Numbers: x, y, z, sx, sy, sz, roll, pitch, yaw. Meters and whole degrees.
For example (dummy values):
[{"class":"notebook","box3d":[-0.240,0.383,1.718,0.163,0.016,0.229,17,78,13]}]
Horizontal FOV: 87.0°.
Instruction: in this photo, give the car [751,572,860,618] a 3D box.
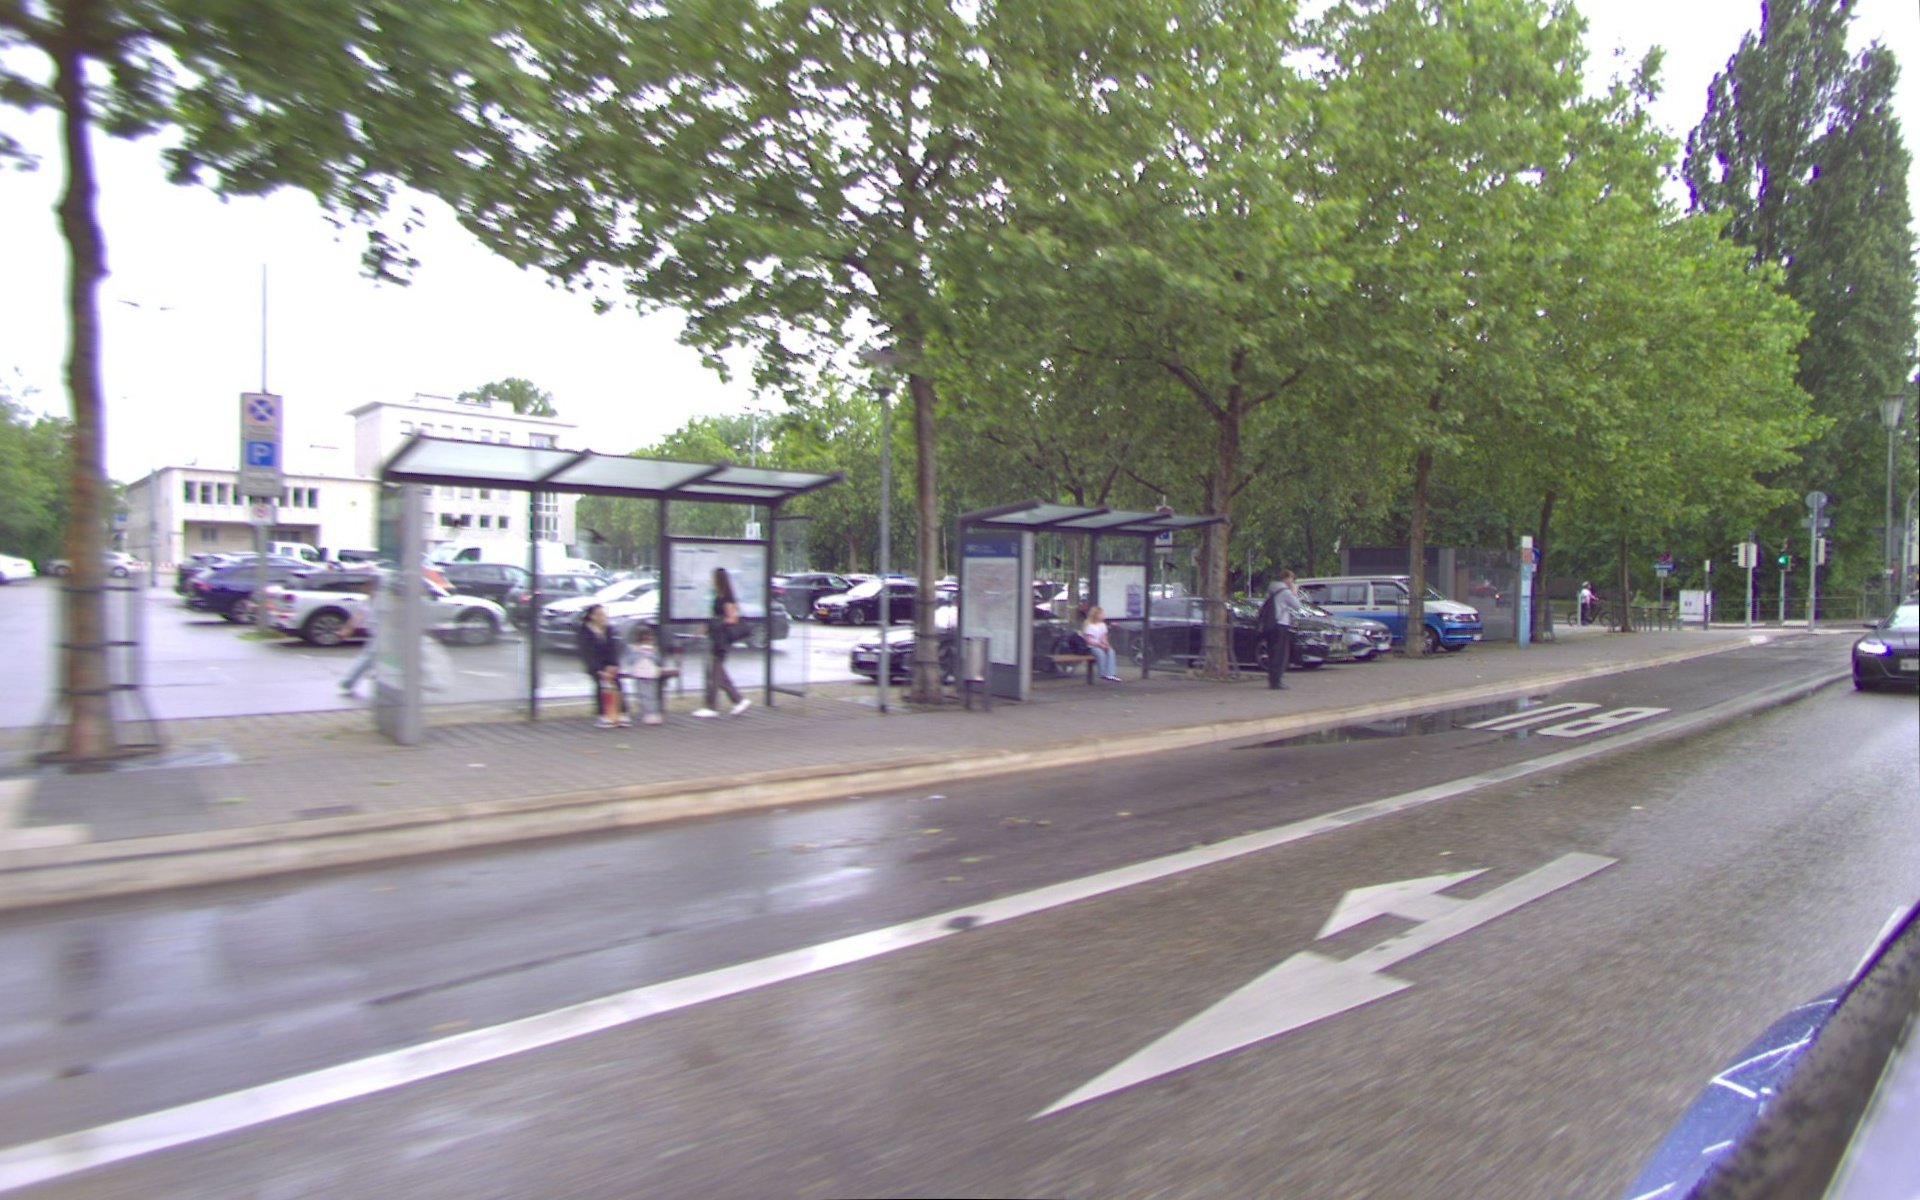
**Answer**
[{"class":"car","box3d":[-5.434,-0.166,35.871,3.572,1.523,1.529,1,2,-44]}]

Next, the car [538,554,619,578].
[{"class":"car","box3d":[-23.792,-2.076,63.210,1.635,1.442,4.438,0,1,44]}]

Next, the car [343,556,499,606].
[{"class":"car","box3d":[-15.143,-0.523,28.534,3.572,1.251,1.529,1,2,-44]}]

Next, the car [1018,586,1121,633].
[{"class":"car","box3d":[3.779,0.316,34.508,1.527,1.445,3.779,3,1,42]}]

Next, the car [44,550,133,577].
[{"class":"car","box3d":[-50.388,-2.119,58.599,3.745,1.439,1.701,1,1,-36]}]

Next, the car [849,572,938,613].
[{"class":"car","box3d":[-2.756,-0.301,42.615,3.550,1.612,1.529,1,1,-43]}]

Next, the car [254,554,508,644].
[{"class":"car","box3d":[-11.542,-0.012,20.336,4.107,1.610,1.759,1,2,-44]}]

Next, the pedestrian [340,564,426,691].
[{"class":"pedestrian","box3d":[-7.817,0.353,13.714,0.846,1.653,0.766,1,0,-41]}]

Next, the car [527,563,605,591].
[{"class":"car","box3d":[-19.847,-1.146,51.045,1.525,1.251,3.309,3,1,38]}]

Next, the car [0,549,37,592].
[{"class":"car","box3d":[-40.021,-1.225,40.734,3.938,1.696,1.858,1,1,-33]}]

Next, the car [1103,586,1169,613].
[{"class":"car","box3d":[10.808,-0.055,62.274,3.817,1.481,1.444,3,2,45]}]

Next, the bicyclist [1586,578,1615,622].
[{"class":"bicyclist","box3d":[26.624,-0.003,42.088,0.980,1.792,0.788,1,1,31]}]

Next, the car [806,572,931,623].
[{"class":"car","box3d":[-3.060,-0.058,34.335,3.980,1.584,1.617,1,1,-40]}]

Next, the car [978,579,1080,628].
[{"class":"car","box3d":[2.504,0.137,36.286,3.549,1.612,1.570,1,1,-43]}]

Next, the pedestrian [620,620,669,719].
[{"class":"pedestrian","box3d":[-3.476,0.757,11.163,0.364,1.047,0.401,1,0,-40]}]

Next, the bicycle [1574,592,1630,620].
[{"class":"bicycle","box3d":[26.677,0.243,42.102,1.918,1.108,0.643,1,2,31]}]

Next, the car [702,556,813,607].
[{"class":"car","box3d":[-9.455,-0.835,47.464,1.967,2.181,4.807,3,1,43]}]

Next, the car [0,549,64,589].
[{"class":"car","box3d":[-41.942,-1.384,44.217,3.938,1.696,1.858,1,1,-33]}]

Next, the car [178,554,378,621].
[{"class":"car","box3d":[-16.763,-0.291,24.962,3.928,1.467,1.761,1,1,-40]}]

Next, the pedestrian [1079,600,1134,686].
[{"class":"pedestrian","box3d":[2.364,0.677,16.358,0.613,1.338,0.634,-1,1,-29]}]

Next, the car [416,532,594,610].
[{"class":"car","box3d":[-14.864,-0.906,33.286,1.967,2.348,4.934,3,1,43]}]

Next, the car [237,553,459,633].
[{"class":"car","box3d":[-13.579,-0.138,22.574,3.933,1.610,1.759,1,2,-44]}]

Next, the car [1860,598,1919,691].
[{"class":"car","box3d":[16.526,0.664,16.569,4.280,1.422,1.896,0,-1,-38]}]

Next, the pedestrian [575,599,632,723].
[{"class":"pedestrian","box3d":[-3.835,0.641,10.881,0.394,1.287,0.499,1,0,-40]}]

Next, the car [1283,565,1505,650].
[{"class":"car","box3d":[10.981,0.213,25.922,1.916,1.967,4.844,-1,-1,-40]}]

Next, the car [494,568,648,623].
[{"class":"car","box3d":[-9.816,-0.103,25.662,3.299,1.251,1.529,1,2,-44]}]

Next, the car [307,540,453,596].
[{"class":"car","box3d":[-21.281,-1.149,37.235,1.829,1.853,4.294,3,2,44]}]

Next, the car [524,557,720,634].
[{"class":"car","box3d":[-7.788,-0.098,23.514,3.933,1.610,1.759,1,2,-44]}]

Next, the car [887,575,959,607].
[{"class":"car","box3d":[-2.014,-0.530,56.000,3.818,1.709,1.778,-1,1,-44]}]

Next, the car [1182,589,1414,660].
[{"class":"car","box3d":[7.554,0.548,23.060,1.829,1.423,4.747,-1,-1,-40]}]

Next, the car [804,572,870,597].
[{"class":"car","box3d":[-7.128,-0.911,58.779,3.539,1.442,1.636,-1,1,-44]}]

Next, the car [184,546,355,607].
[{"class":"car","box3d":[-19.931,-0.657,29.274,3.928,1.585,1.761,1,1,-40]}]

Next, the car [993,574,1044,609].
[{"class":"car","box3d":[2.779,-0.439,48.682,1.718,1.601,4.007,0,2,-7]}]

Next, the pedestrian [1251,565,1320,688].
[{"class":"pedestrian","box3d":[5.063,0.394,15.764,0.742,1.865,0.735,-1,1,-13]}]

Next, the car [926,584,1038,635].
[{"class":"car","box3d":[0.697,0.235,30.929,1.636,1.440,3.302,1,2,44]}]

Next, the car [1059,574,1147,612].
[{"class":"car","box3d":[6.716,-0.345,47.316,4.371,1.709,1.778,-1,1,-44]}]

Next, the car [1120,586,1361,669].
[{"class":"car","box3d":[5.601,0.532,20.610,4.401,1.503,1.833,-1,0,45]}]

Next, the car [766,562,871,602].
[{"class":"car","box3d":[-6.511,-0.829,46.965,1.967,1.691,4.558,3,2,43]}]

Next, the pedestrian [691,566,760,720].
[{"class":"pedestrian","box3d":[-2.708,0.472,11.669,0.545,1.717,0.540,1,0,-40]}]

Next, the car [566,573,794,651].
[{"class":"car","box3d":[-5.858,0.246,21.541,4.371,1.458,1.735,1,2,-45]}]

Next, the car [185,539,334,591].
[{"class":"car","box3d":[-36.009,-1.773,52.148,2.225,2.389,5.949,3,1,43]}]

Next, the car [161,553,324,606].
[{"class":"car","box3d":[-21.896,-0.604,30.948,3.928,1.462,1.660,1,1,-40]}]
